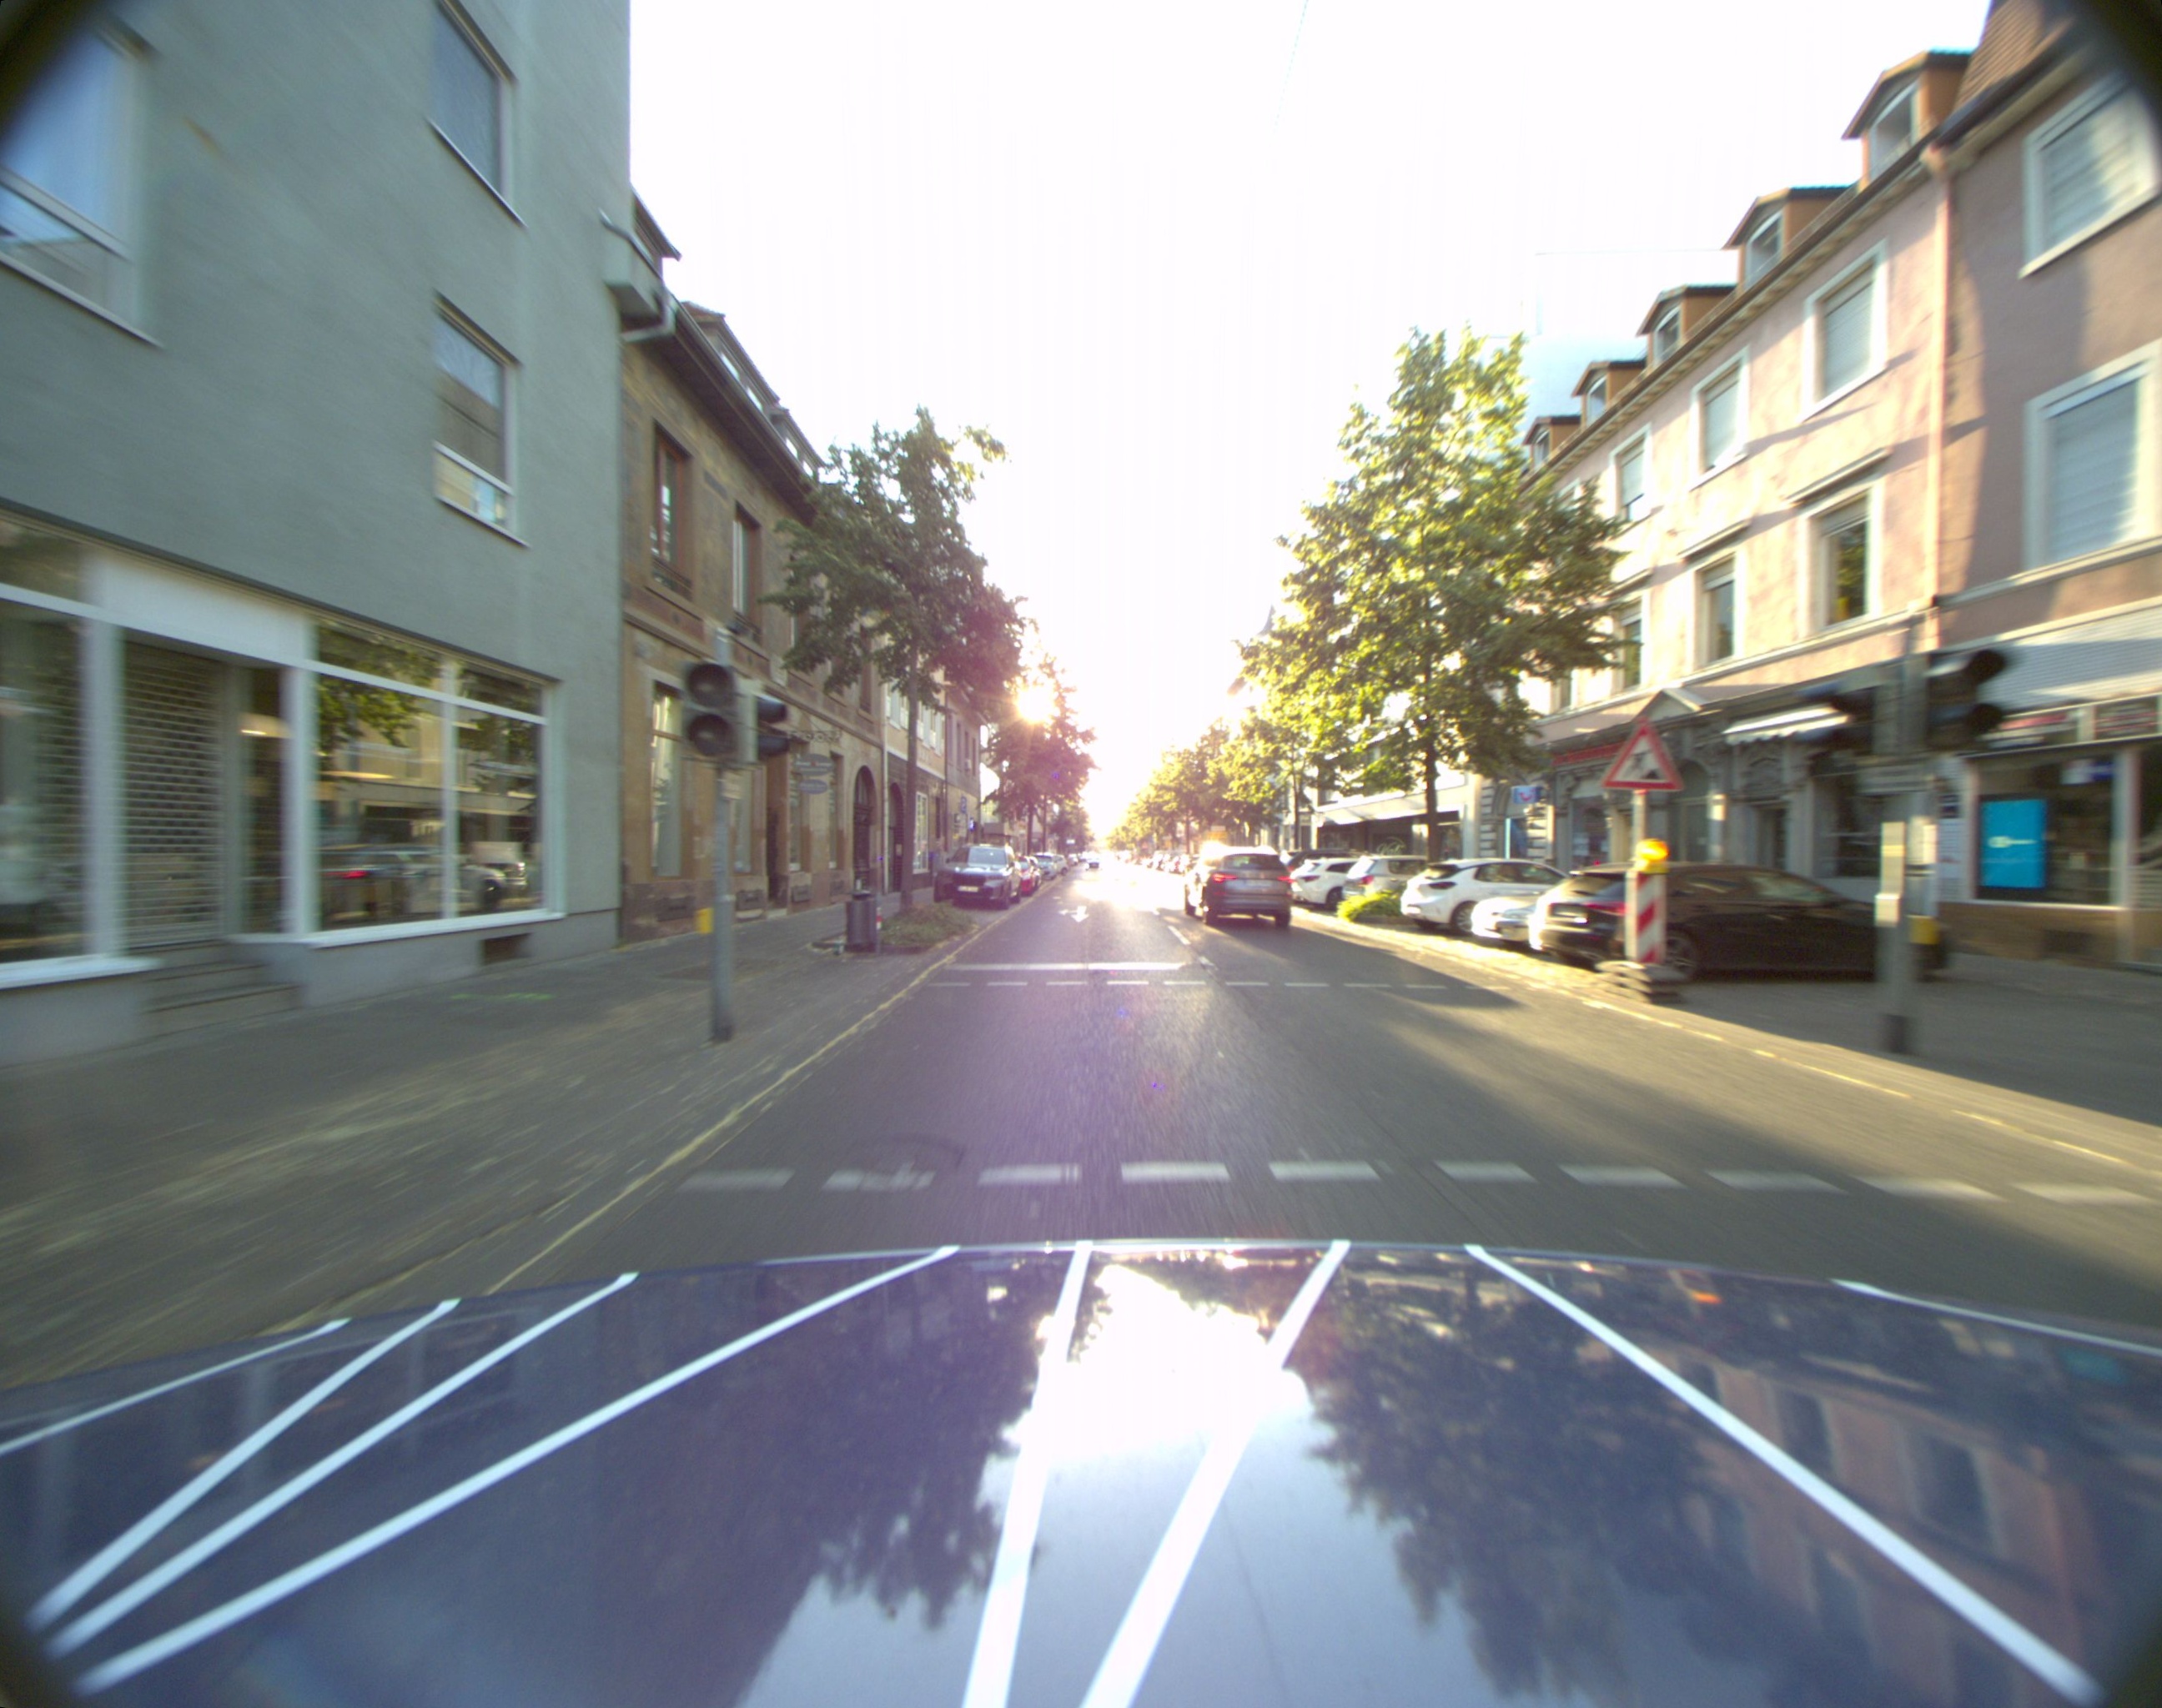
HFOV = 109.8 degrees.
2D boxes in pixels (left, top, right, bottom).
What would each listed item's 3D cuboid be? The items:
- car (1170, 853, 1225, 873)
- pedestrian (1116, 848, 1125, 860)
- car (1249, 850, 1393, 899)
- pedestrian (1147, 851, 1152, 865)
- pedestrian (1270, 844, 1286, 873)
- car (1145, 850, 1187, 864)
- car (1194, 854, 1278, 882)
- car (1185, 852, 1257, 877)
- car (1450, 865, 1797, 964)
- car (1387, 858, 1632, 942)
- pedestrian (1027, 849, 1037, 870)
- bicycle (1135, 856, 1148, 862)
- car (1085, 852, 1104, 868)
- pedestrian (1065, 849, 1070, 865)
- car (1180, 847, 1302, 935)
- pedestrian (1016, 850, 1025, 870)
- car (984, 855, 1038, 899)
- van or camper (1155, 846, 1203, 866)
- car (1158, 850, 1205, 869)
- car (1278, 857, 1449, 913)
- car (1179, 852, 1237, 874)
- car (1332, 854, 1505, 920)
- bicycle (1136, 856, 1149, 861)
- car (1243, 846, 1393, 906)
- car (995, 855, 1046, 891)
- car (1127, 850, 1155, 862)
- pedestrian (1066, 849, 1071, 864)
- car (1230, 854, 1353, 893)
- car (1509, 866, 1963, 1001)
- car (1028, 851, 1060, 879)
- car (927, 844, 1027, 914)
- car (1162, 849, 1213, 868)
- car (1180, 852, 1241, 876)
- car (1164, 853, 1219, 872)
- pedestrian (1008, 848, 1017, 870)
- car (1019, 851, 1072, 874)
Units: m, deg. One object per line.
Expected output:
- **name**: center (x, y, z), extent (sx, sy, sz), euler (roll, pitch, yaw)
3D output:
- **car**: center (8.892, 0.684, 58.106), extent (3.876, 1.448, 1.744), euler (-1, 0, -1)
- **pedestrian**: center (5.422, 0.038, 104.644), extent (0.898, 1.671, 0.795), euler (-1, 1, -36)
- **car**: center (8.308, 0.693, 26.617), extent (4.417, 1.586, 1.890), euler (-1, 0, 0)
- **pedestrian**: center (8.155, 0.511, 90.169), extent (0.550, 1.638, 0.721), euler (0, 1, 4)
- **pedestrian**: center (12.447, 0.285, 47.971), extent (0.721, 1.739, 0.934), euler (-3, 1, 1)
- **car**: center (9.291, 0.316, 83.082), extent (4.439, 1.516, 1.814), euler (-1, 0, 0)
- **car**: center (8.470, 0.757, 41.813), extent (4.285, 1.475, 1.744), euler (-1, 0, 1)
- **car**: center (8.914, 0.652, 48.511), extent (4.286, 1.475, 1.744), euler (-1, 0, -1)
- **car**: center (8.311, 0.893, 11.970), extent (4.107, 1.395, 1.843), euler (0, 1, 3)
- **car**: center (8.205, 0.844, 14.791), extent (3.748, 1.435, 1.805), euler (-1, 1, -2)
- **pedestrian**: center (-3.846, 0.417, 59.481), extent (0.748, 1.622, 0.855), euler (0, 1, 1)
- **bicycle**: center (8.470, 0.683, 107.161), extent (1.796, 0.761, 0.408), euler (0, 1, 13)
- **car**: center (1.394, 0.551, 75.709), extent (1.825, 1.469, 4.155), euler (0, 1, 2)
- **pedestrian**: center (-1.290, 0.299, 74.695), extent (0.448, 1.472, 0.547), euler (2, 1, 2)
- **car**: center (3.474, 0.717, 17.365), extent (1.866, 1.683, 4.459), euler (0, 1, 1)
- **pedestrian**: center (-4.736, 0.473, 59.765), extent (0.607, 1.622, 0.668), euler (0, 1, 1)
- **car**: center (-2.572, 0.807, 28.820), extent (1.734, 1.479, 3.899), euler (2, 0, -2)
- **van or camper**: center (9.345, 0.187, 72.639), extent (4.469, 1.945, 1.789), euler (0, 0, 2)
- **car**: center (9.182, 0.474, 69.670), extent (4.192, 1.659, 1.732), euler (0, 1, 3)
- **car**: center (7.906, 0.835, 21.491), extent (4.160, 1.413, 1.766), euler (-1, 1, -1)
- **car**: center (9.263, 0.617, 55.517), extent (3.876, 1.558, 1.744), euler (-1, 0, -1)
- **car**: center (8.407, 0.797, 19.137), extent (3.565, 1.493, 1.716), euler (-1, 1, 0)
- **bicycle**: center (8.716, 0.655, 108.029), extent (1.796, 0.761, 0.408), euler (0, 1, 13)
- **car**: center (7.478, 0.676, 24.206), extent (4.160, 1.762, 1.889), euler (-1, 1, -1)
- **car**: center (-2.606, 0.779, 33.612), extent (1.957, 1.382, 4.424), euler (2, 0, -2)
- **car**: center (9.742, 0.260, 124.292), extent (4.439, 1.832, 1.814), euler (-1, 1, 0)
- **pedestrian**: center (-1.204, 0.279, 75.667), extent (0.448, 1.472, 0.563), euler (2, 1, 2)
- **car**: center (8.494, 0.766, 30.926), extent (4.559, 1.475, 1.744), euler (-1, 0, 1)
- **car**: center (7.944, 0.907, 9.519), extent (4.117, 1.395, 1.884), euler (-1, 1, -1)
- **car**: center (-2.189, 0.641, 46.048), extent (1.695, 1.534, 3.553), euler (2, 0, 1)
- **car**: center (-2.836, 0.644, 21.865), extent (2.043, 1.727, 4.711), euler (2, 0, 2)
- **car**: center (9.038, 0.390, 64.633), extent (4.191, 1.528, 1.745), euler (-1, 1, 7)
- **car**: center (8.929, 0.671, 52.662), extent (3.876, 1.558, 1.744), euler (-1, 0, -1)
- **car**: center (8.788, 0.682, 60.400), extent (4.052, 1.379, 1.744), euler (-1, 0, -3)
- **pedestrian**: center (-5.370, 0.395, 59.852), extent (0.607, 1.729, 0.668), euler (0, 1, 1)
- **car**: center (-2.494, 0.624, 54.462), extent (1.661, 1.574, 3.632), euler (1, -1, 42)
